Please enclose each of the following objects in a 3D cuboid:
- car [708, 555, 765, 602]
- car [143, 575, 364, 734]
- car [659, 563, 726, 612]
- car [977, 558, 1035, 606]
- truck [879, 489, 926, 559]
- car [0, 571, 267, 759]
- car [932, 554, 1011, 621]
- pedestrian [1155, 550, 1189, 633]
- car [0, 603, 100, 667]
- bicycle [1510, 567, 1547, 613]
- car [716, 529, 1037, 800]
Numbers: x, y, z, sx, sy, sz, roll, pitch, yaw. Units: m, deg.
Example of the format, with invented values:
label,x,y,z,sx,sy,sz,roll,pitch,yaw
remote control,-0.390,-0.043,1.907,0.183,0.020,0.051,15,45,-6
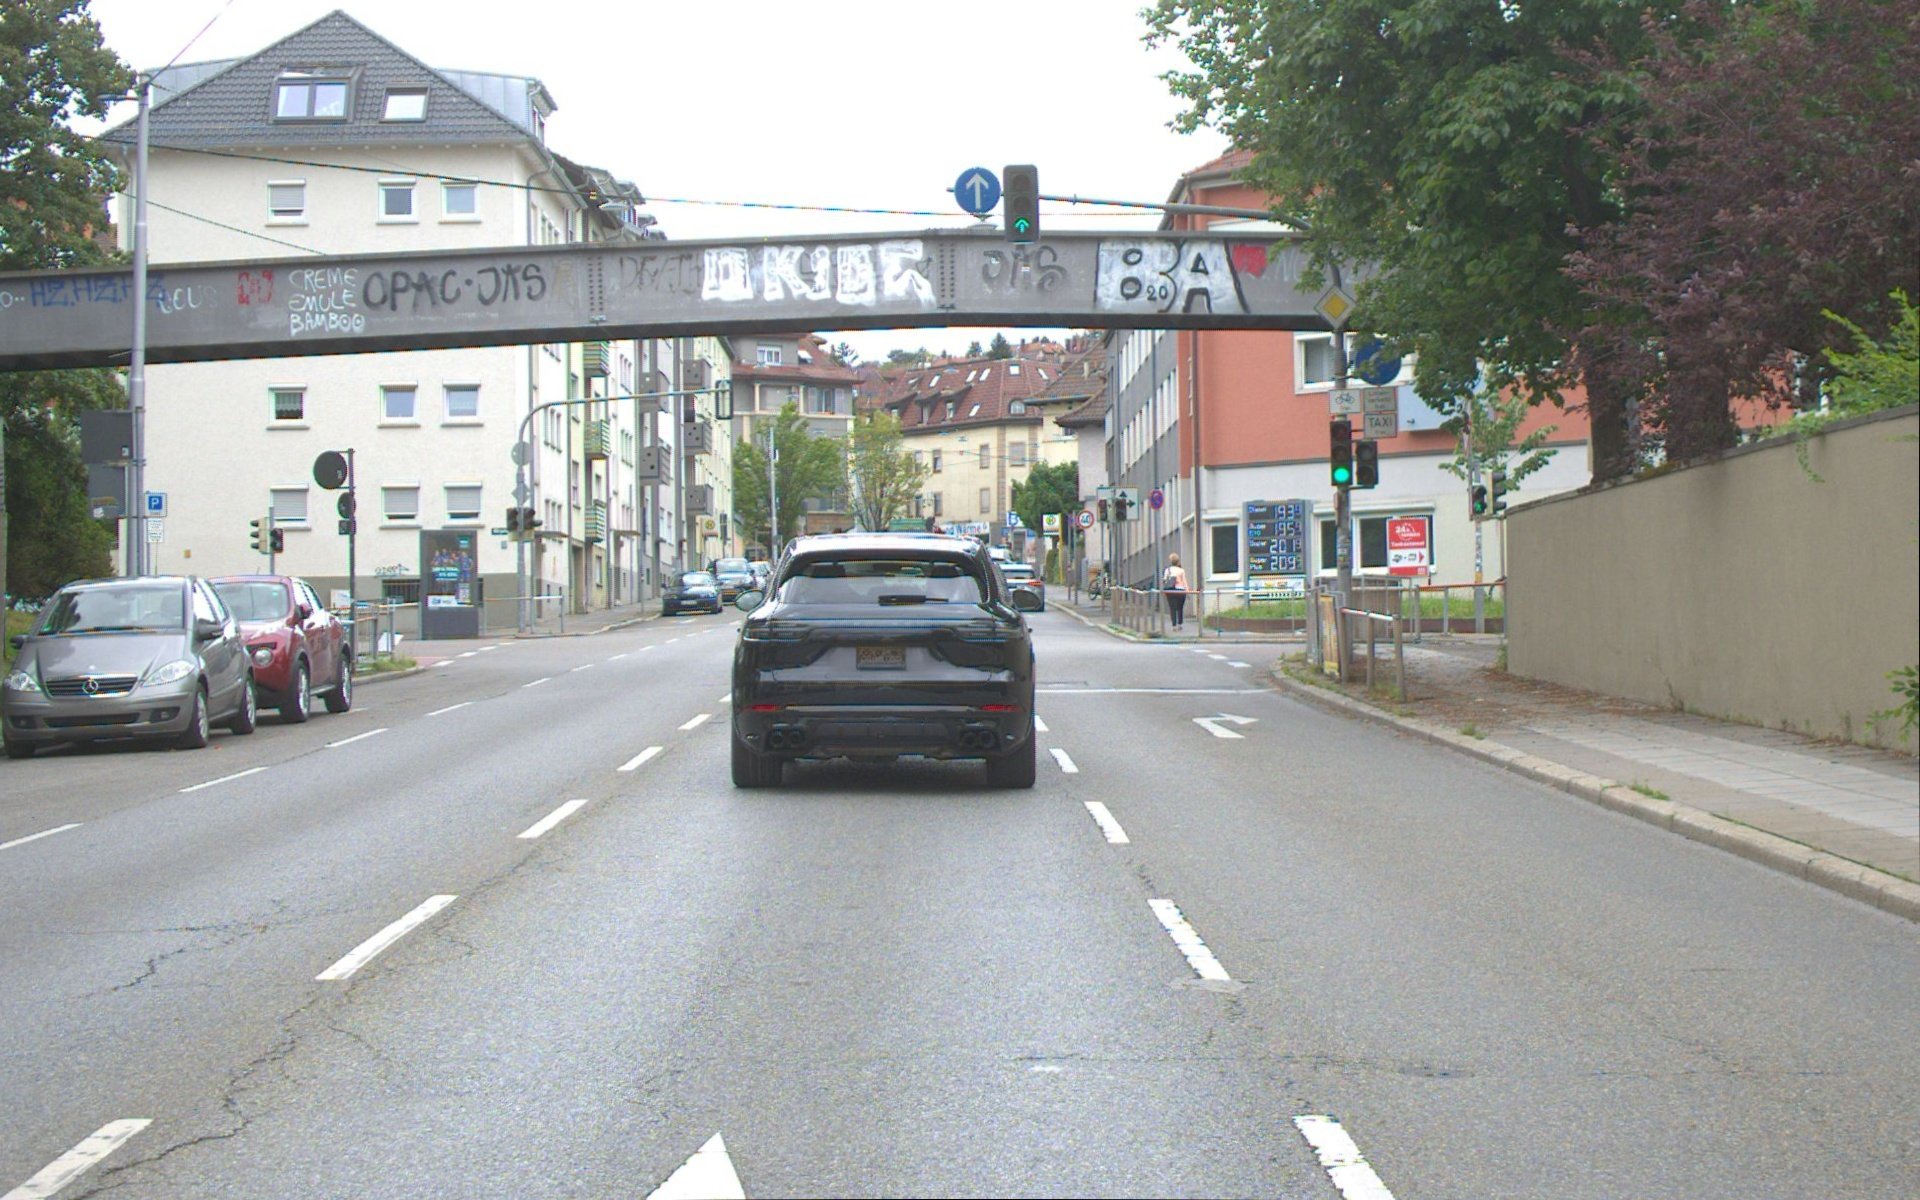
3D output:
label,x,y,z,sx,sy,sz,roll,pitch,yaw
car,-8.191,-0.800,126.295,1.765,1.644,4.000,-1,1,0
car,-7.527,0.538,36.950,1.533,1.535,3.982,-2,1,-1
car,-8.516,-0.422,109.684,1.765,1.503,4.000,-1,1,0
car,1.410,-0.576,106.441,1.741,1.395,4.000,0,2,0
truck,-2.903,-3.806,173.624,2.266,3.412,9.879,-1,1,-1
car,-7.681,0.552,32.033,1.745,1.563,3.909,-2,1,-2
car,0.242,-0.302,77.447,1.741,1.395,4.000,0,2,0
pedestrian,4.563,-0.188,74.062,0.652,1.786,0.715,0,1,-3
car,-23.156,0.849,85.225,1.802,1.505,3.998,-2,1,-43
bicycle,11.495,-0.209,69.495,0.341,0.900,1.741,0,1,23
car,-0.525,0.362,23.437,1.993,1.656,4.000,0,2,0
